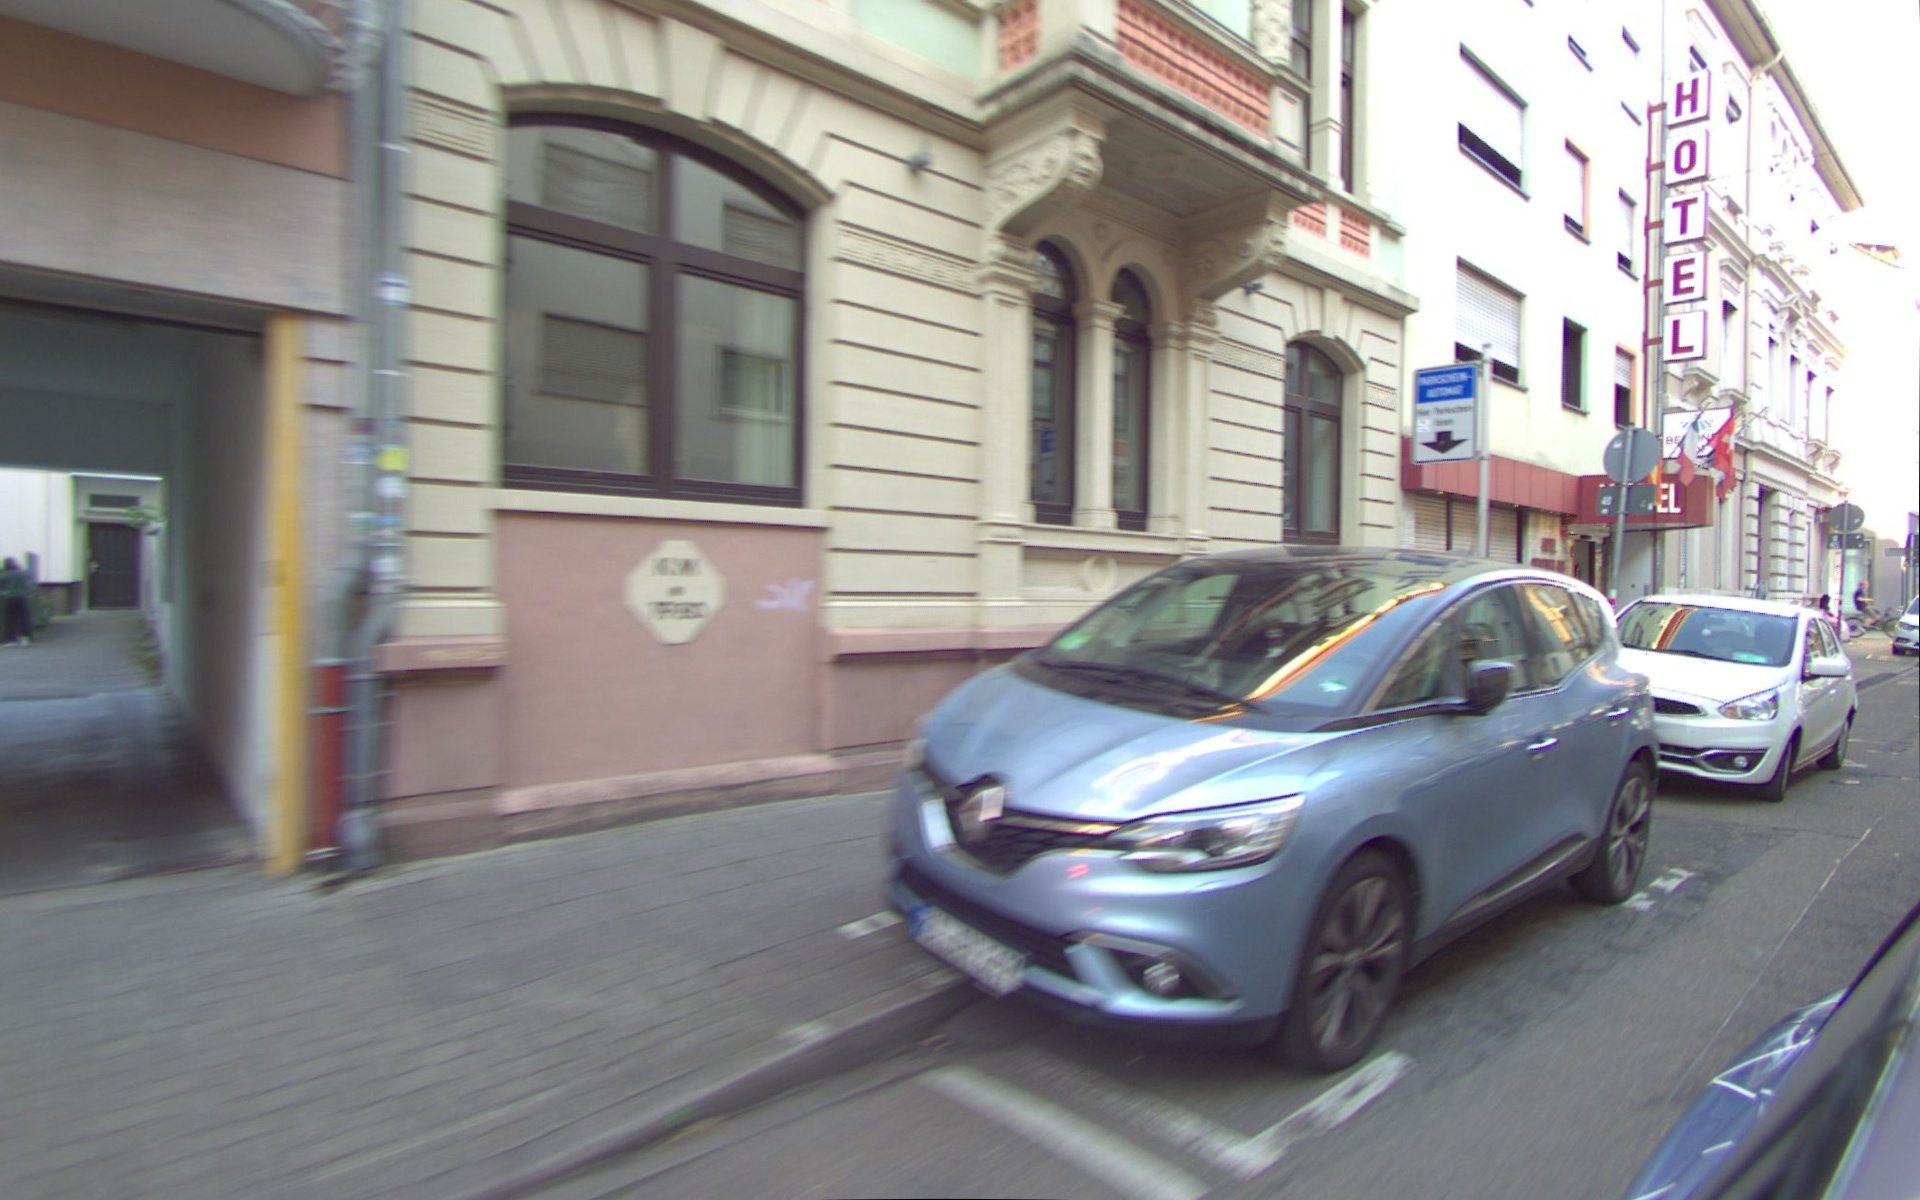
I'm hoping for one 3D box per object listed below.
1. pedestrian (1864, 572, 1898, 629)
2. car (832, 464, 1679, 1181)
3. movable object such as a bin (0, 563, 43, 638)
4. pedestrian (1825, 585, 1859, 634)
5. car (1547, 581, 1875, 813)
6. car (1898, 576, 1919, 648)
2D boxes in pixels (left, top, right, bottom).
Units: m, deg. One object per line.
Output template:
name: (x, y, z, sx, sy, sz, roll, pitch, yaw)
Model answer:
pedestrian: (33.021, 0.012, 36.287, 0.585, 2.039, 0.767, 0, 1, -38)
car: (1.592, 0.526, 4.465, 4.038, 1.763, 1.692, 0, 1, -41)
movable object such as a bin: (-19.050, -0.009, 20.266, 1.008, 1.475, 0.977, 2, 1, 45)
pedestrian: (26.206, 0.275, 30.076, 0.475, 1.441, 0.696, 0, 0, -39)
car: (6.583, 0.652, 8.746, 3.527, 1.598, 1.572, 0, 1, -41)
car: (25.139, 0.355, 25.290, 4.281, 1.715, 1.842, 0, 6, -40)
